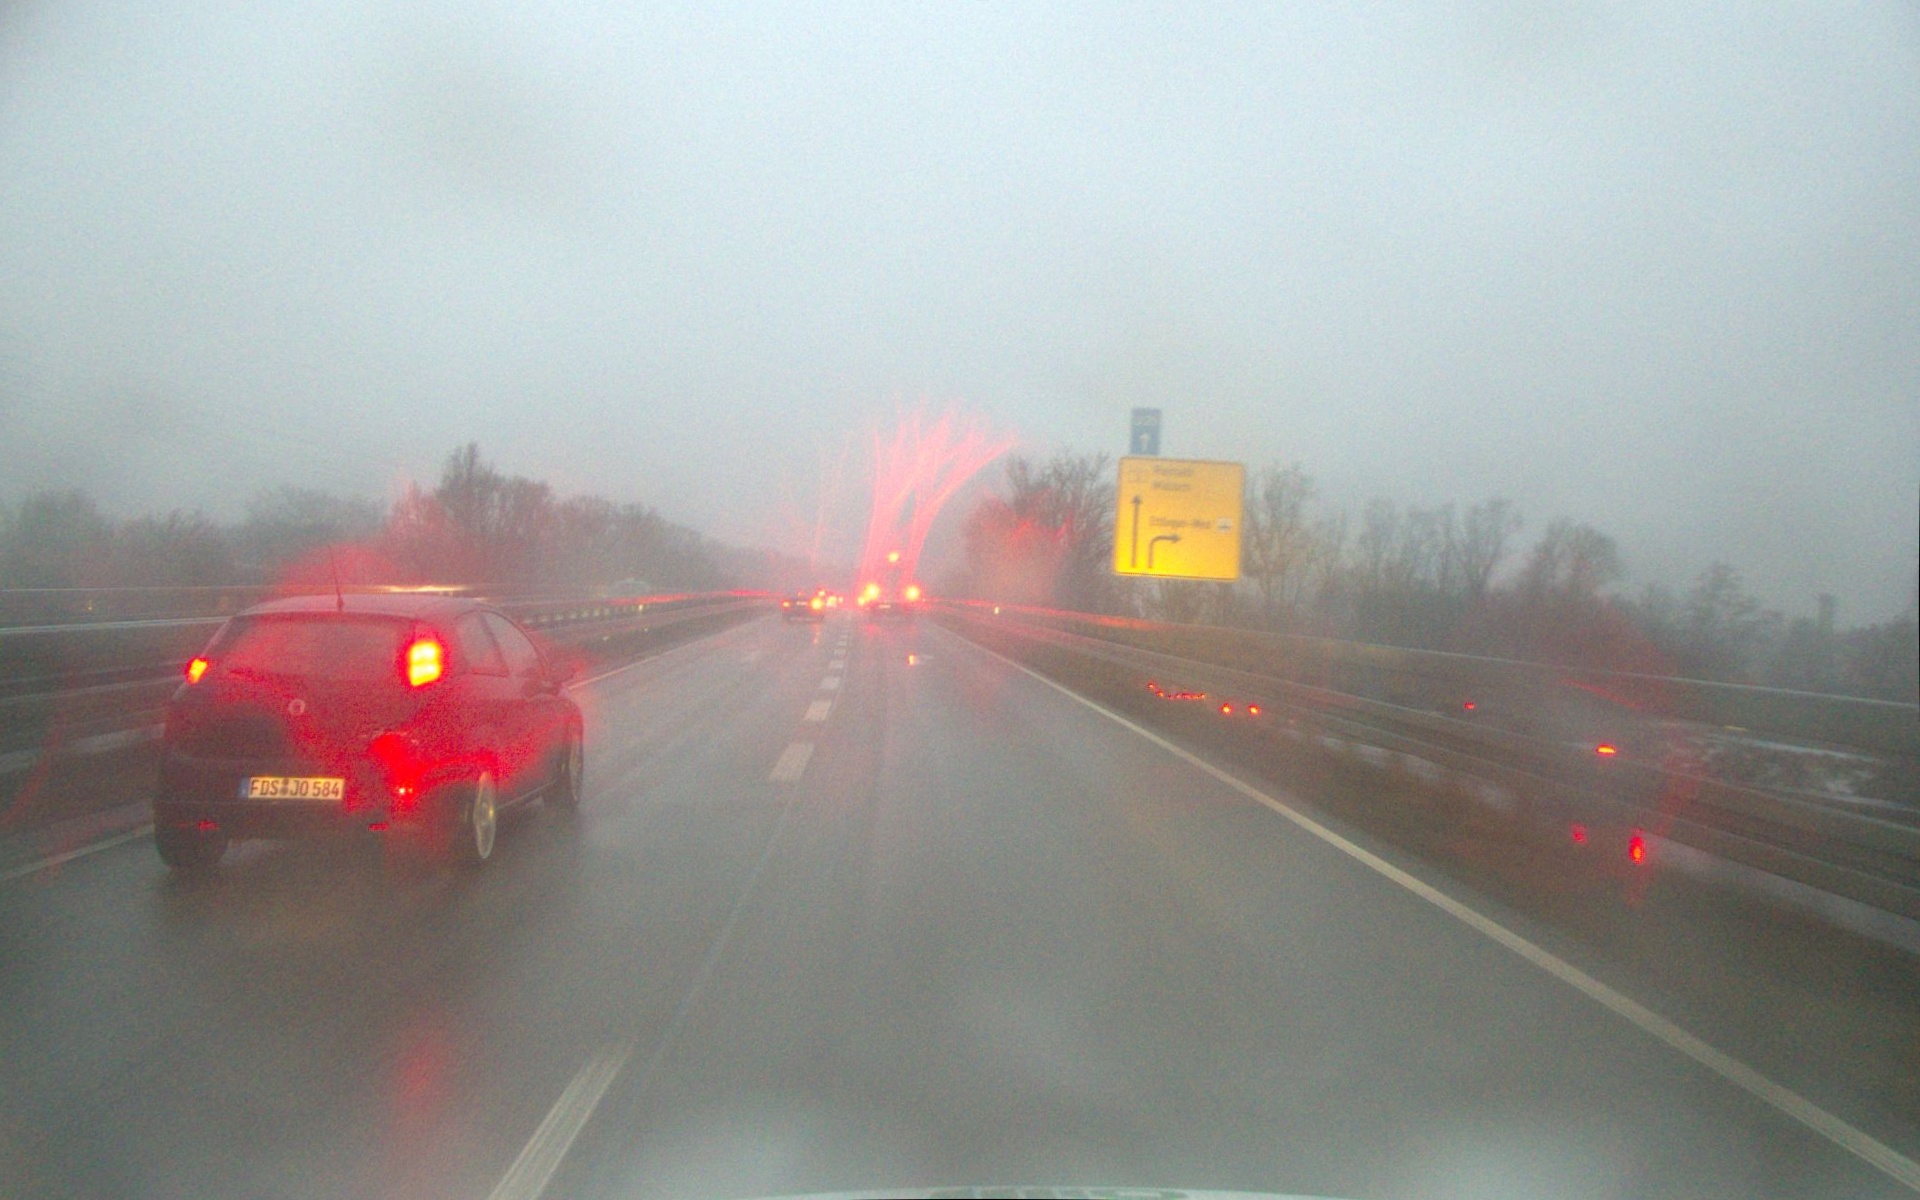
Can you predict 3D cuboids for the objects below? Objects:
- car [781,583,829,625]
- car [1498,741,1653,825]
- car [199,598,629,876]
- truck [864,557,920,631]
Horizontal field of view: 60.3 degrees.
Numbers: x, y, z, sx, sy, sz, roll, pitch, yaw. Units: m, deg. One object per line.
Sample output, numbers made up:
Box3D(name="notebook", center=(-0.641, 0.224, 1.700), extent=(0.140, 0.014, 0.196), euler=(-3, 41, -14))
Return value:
Box3D(name="car", center=(-6.497, 0.196, 69.514), extent=(1.798, 1.564, 3.997), euler=(2, -2, -3))
Box3D(name="car", center=(13.550, 4.003, 36.641), extent=(1.644, 1.303, 3.997), euler=(7, -2, -3))
Box3D(name="car", center=(-3.204, 0.701, 10.512), extent=(1.593, 1.416, 3.997), euler=(0, 0, -3))
Box3D(name="truck", center=(-3.055, -0.218, 73.330), extent=(2.335, 2.960, 4.670), euler=(1, -3, -3))
